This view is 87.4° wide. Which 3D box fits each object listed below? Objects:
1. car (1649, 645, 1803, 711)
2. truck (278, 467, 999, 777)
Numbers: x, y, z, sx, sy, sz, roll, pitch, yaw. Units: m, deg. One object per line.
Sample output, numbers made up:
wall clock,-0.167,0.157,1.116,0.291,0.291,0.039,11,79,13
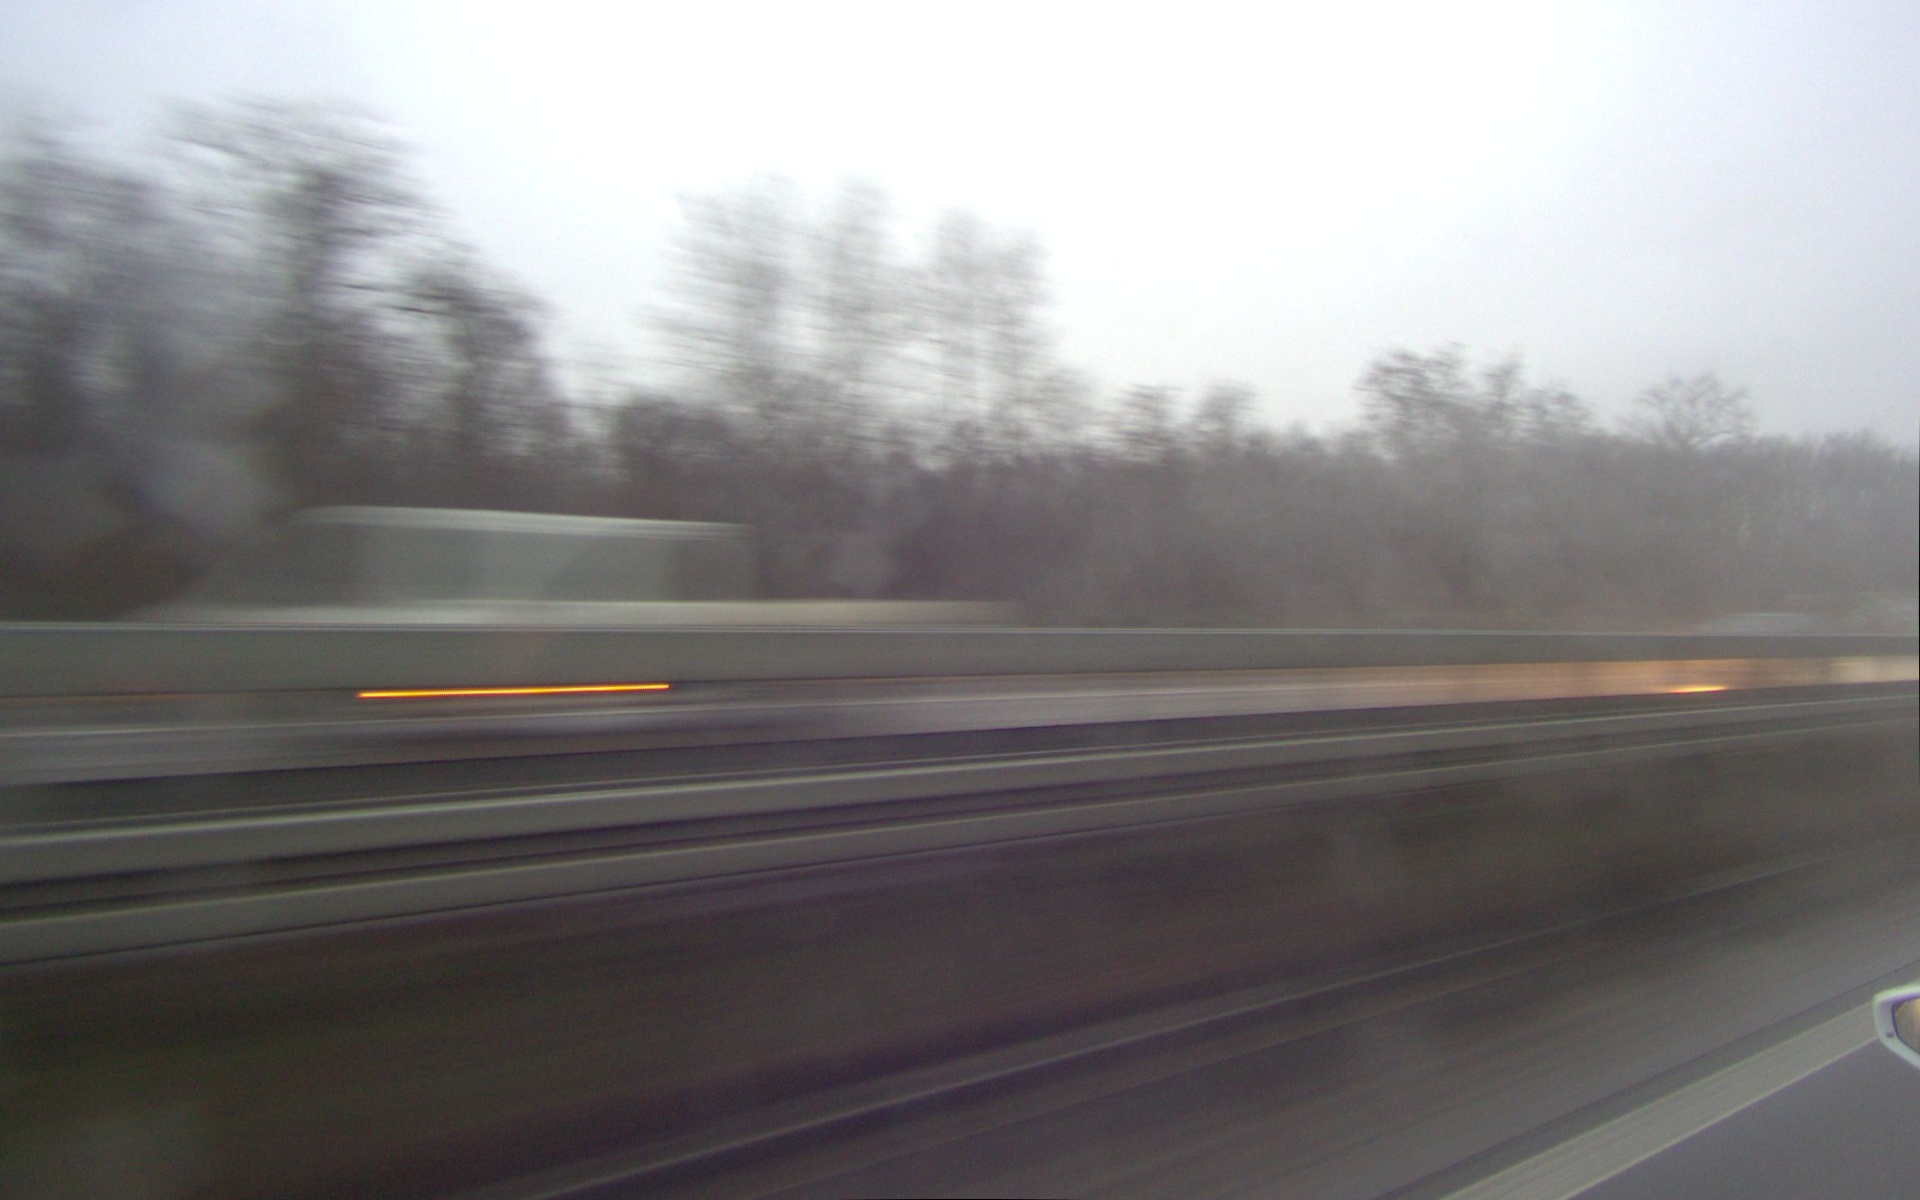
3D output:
car,18.142,1.783,23.753,4.006,1.415,1.491,1,-1,-30
truck,-3.161,0.272,11.099,6.996,2.575,2.242,2,1,-30
